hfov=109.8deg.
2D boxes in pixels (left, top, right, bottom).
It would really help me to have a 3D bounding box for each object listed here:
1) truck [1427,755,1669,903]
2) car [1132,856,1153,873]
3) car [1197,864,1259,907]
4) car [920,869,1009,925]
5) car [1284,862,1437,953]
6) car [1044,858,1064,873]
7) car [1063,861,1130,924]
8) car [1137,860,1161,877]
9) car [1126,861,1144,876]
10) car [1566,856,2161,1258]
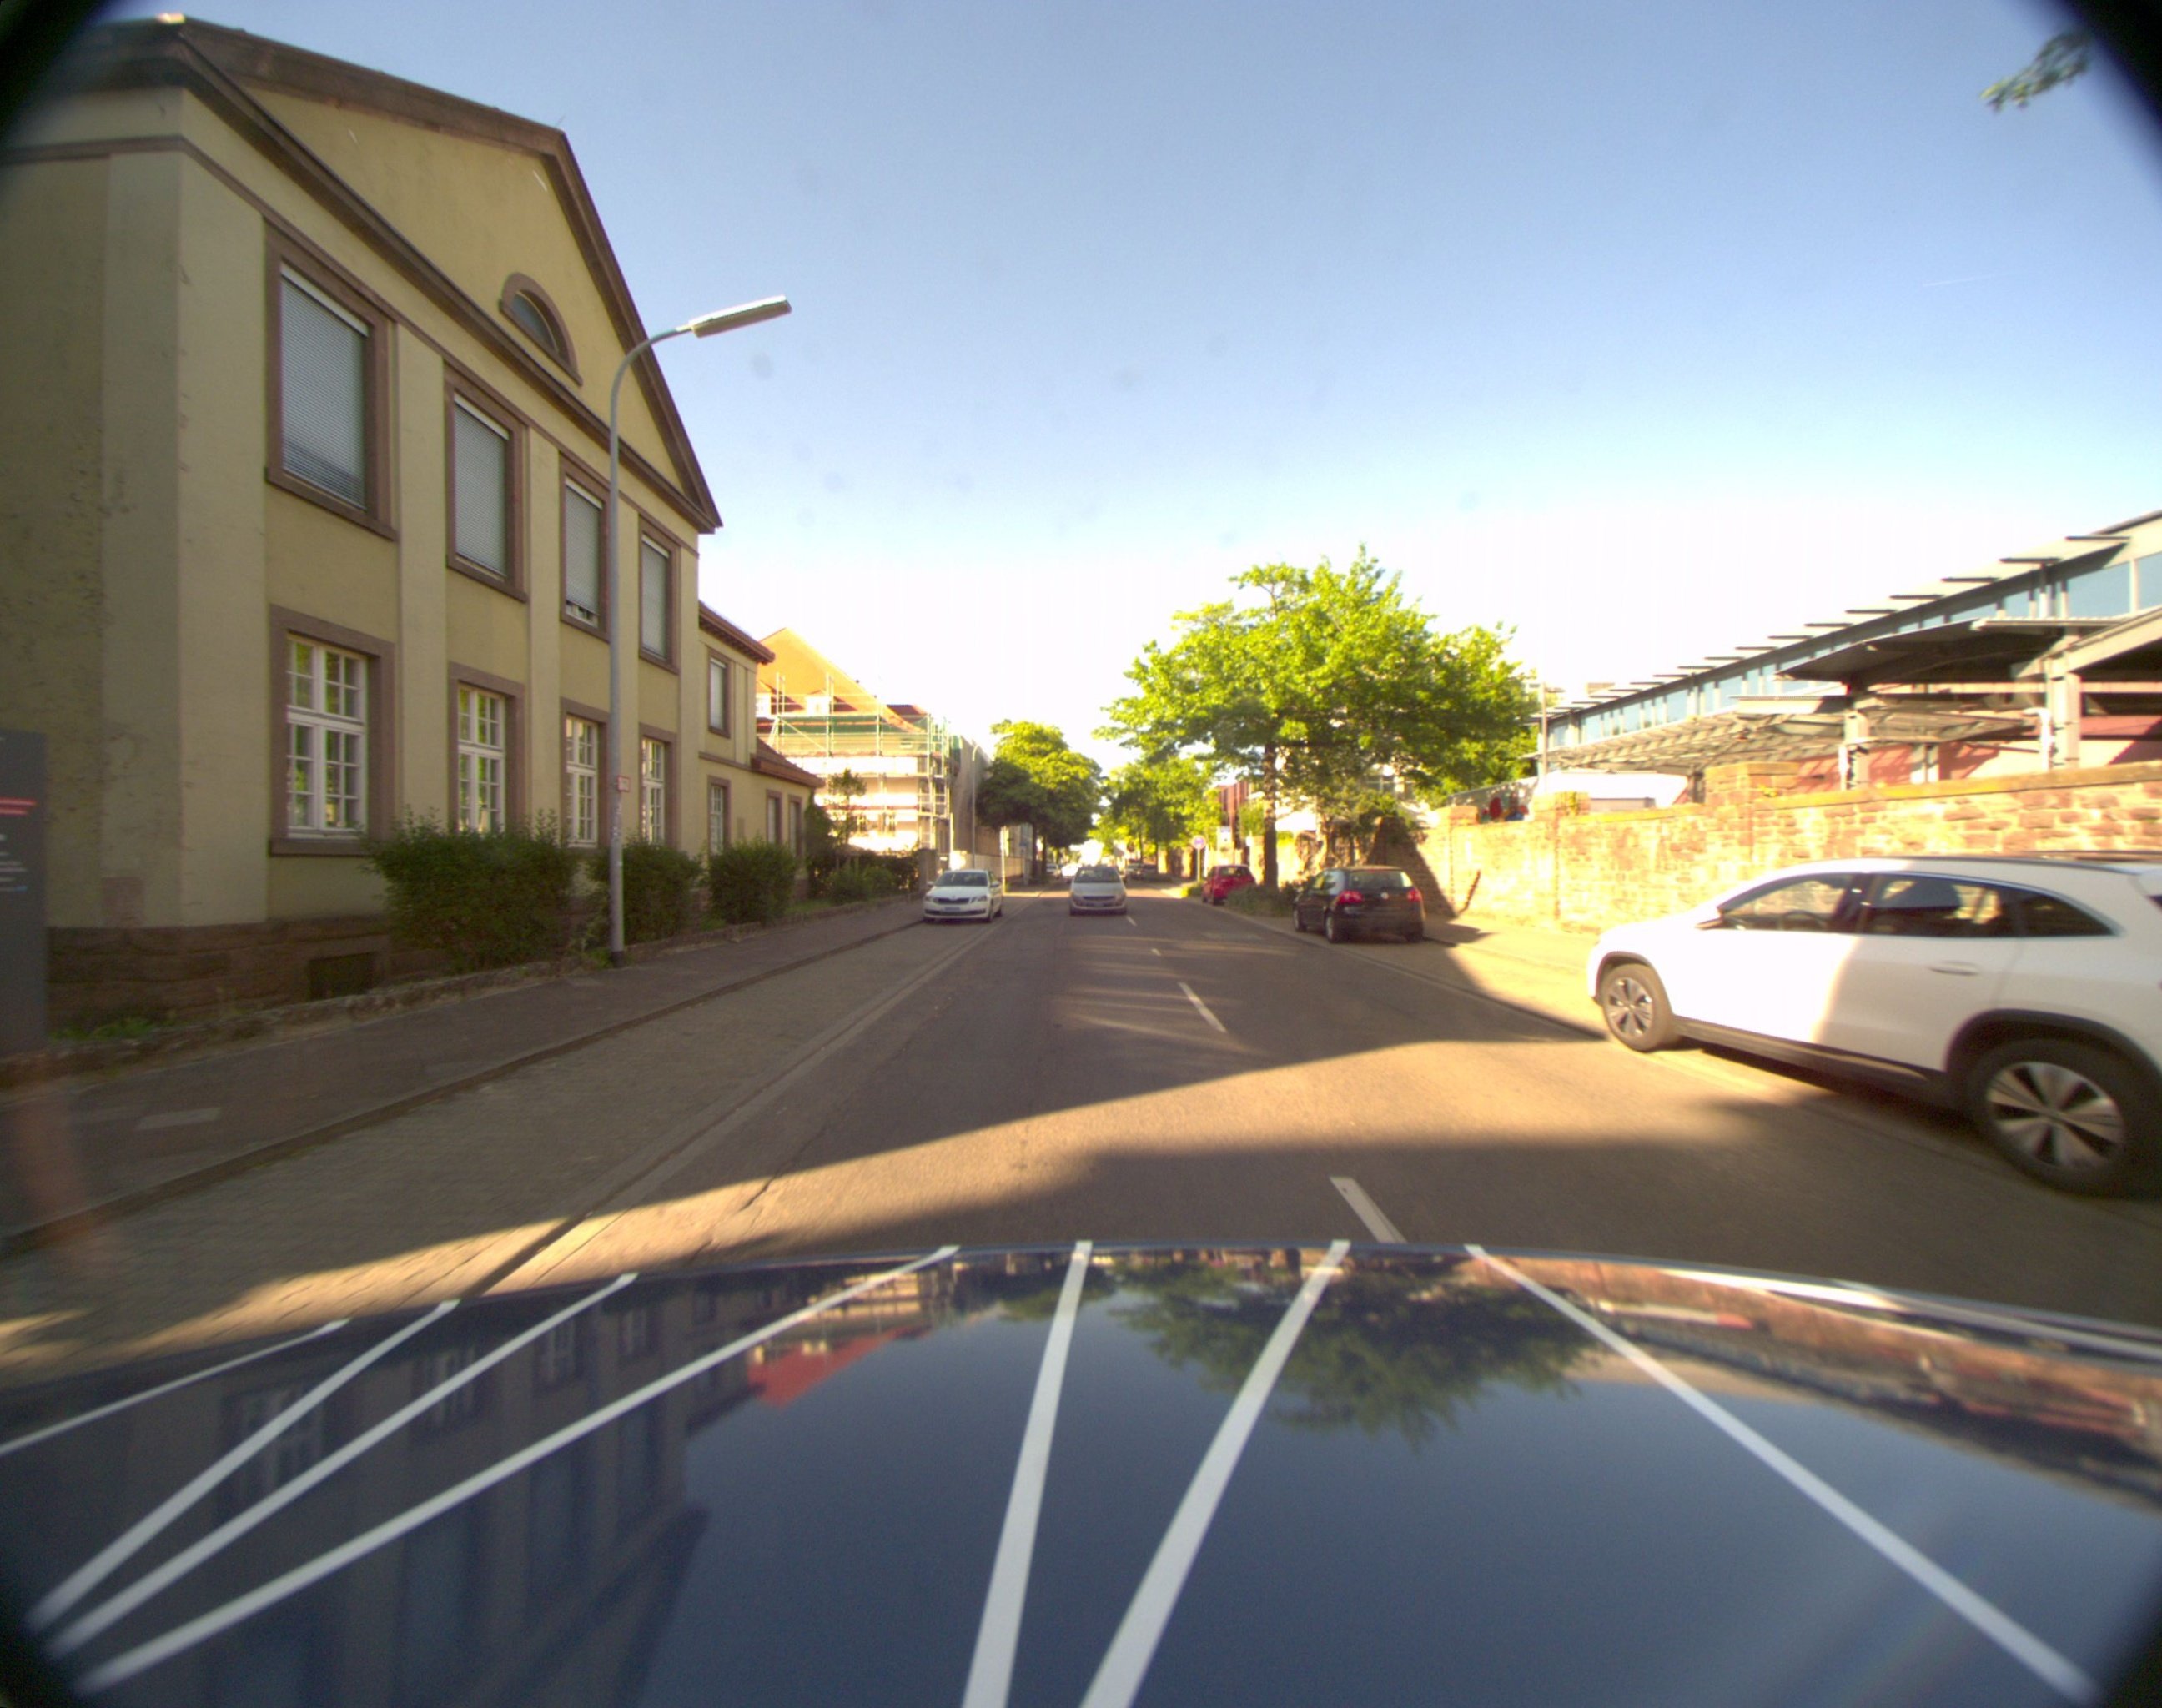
[{"bbox_3d":[13.764,-0.648,23.356,2.739,3.689,7.428,-3,0,0],"label":"truck"},{"bbox_3d":[5.841,1.007,72.615,1.577,1.506,4.044,-2,0,-1],"label":"car"},{"bbox_3d":[5.549,1.150,29.004,1.613,1.450,3.708,-3,0,1],"label":"car"},{"bbox_3d":[-3.150,1.131,21.392,1.837,1.315,4.496,0,0,0],"label":"car"},{"bbox_3d":[5.589,0.982,15.772,1.741,1.583,4.107,-1,0,2],"label":"car"},{"bbox_3d":[-2.765,1.145,77.892,1.727,1.501,3.993,0,0,3],"label":"car"},{"bbox_3d":[0.462,1.073,22.747,1.748,1.613,4.106,-3,0,1],"label":"car"},{"bbox_3d":[6.049,1.293,67.814,1.691,1.413,3.838,-3,0,0],"label":"car"},{"bbox_3d":[5.990,1.628,84.637,1.681,1.502,3.850,-4,-1,1],"label":"car"},{"bbox_3d":[5.394,0.866,4.864,1.724,1.674,4.350,-1,0,-1],"label":"car"}]
